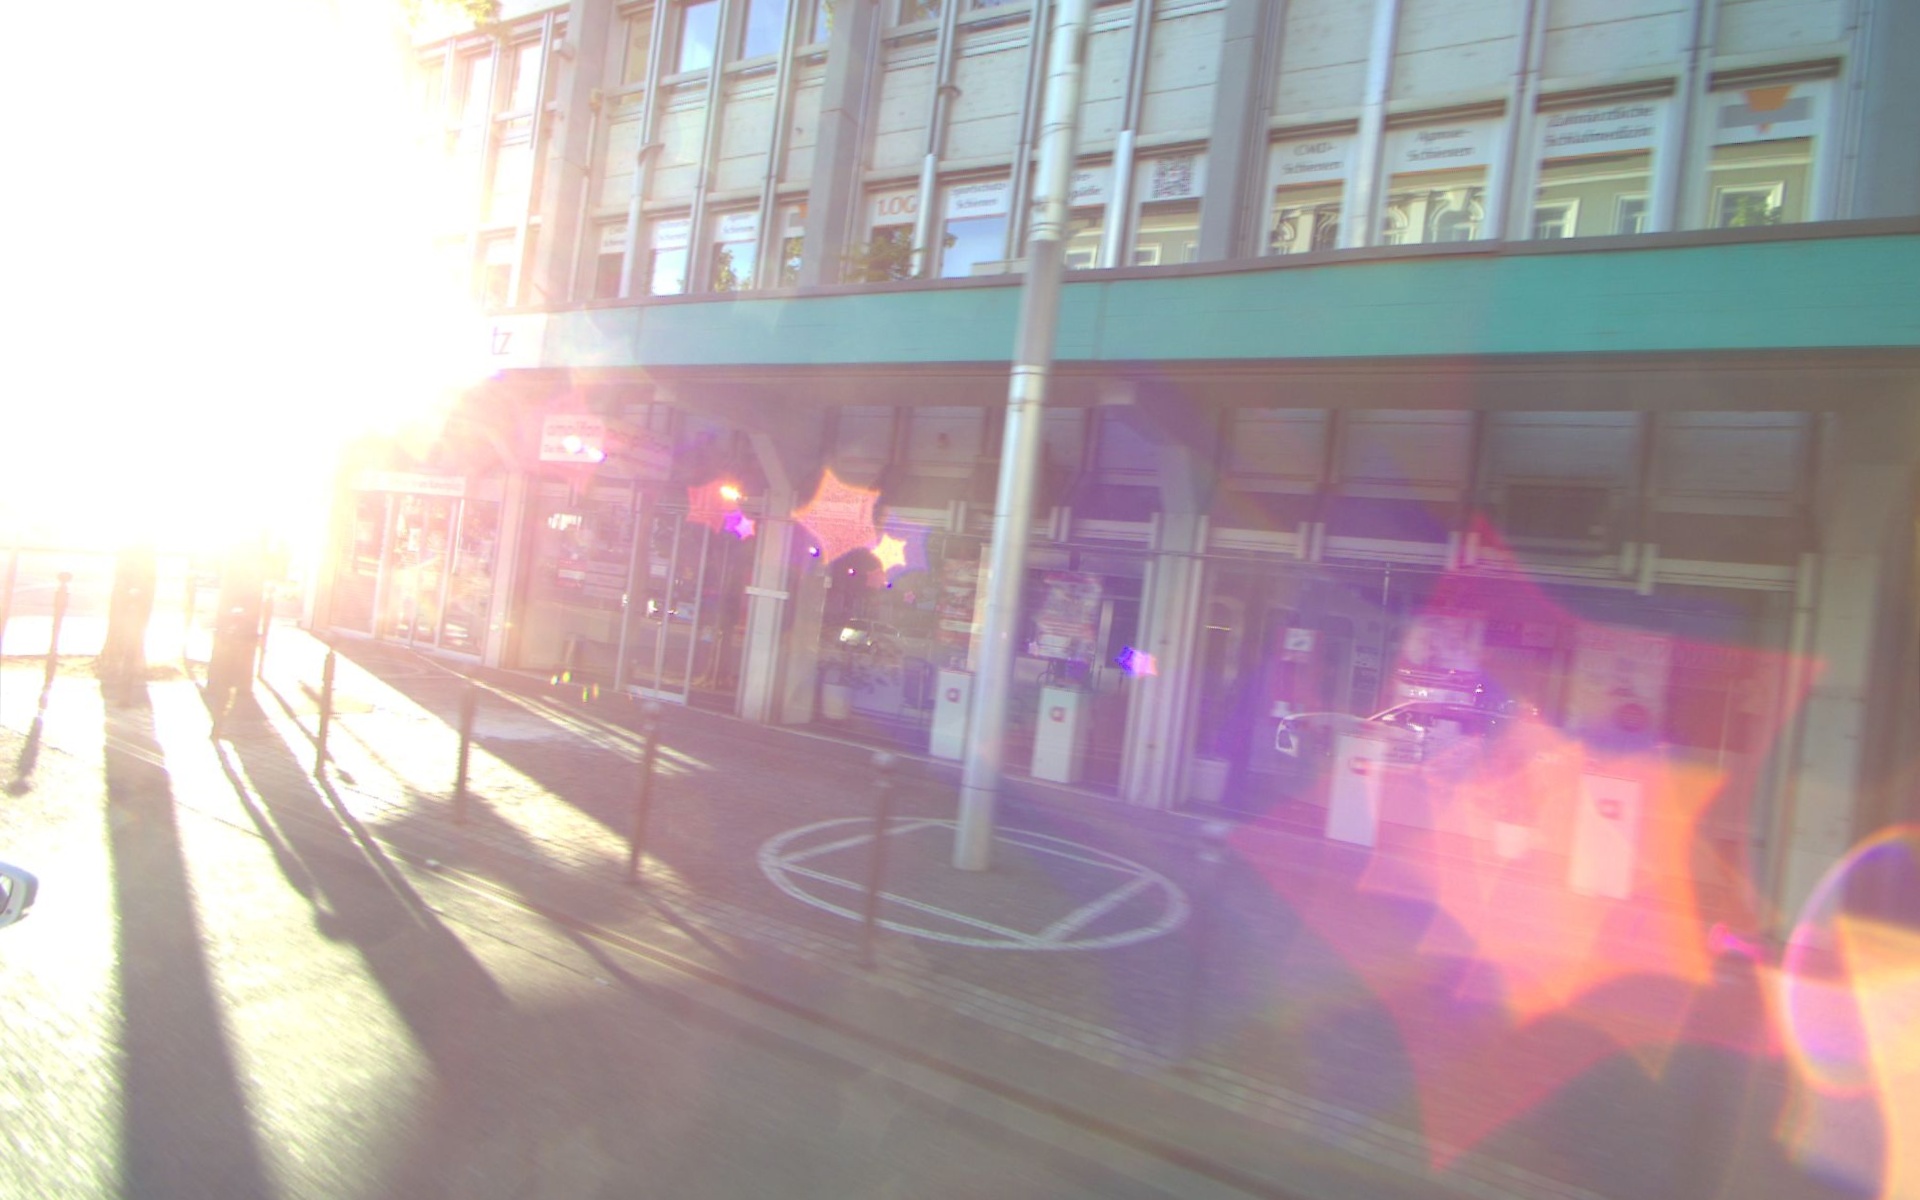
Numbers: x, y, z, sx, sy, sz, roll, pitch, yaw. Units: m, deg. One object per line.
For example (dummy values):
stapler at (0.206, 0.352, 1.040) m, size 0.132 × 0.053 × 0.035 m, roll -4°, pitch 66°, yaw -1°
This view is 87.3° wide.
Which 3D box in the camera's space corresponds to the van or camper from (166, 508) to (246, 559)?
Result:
van or camper at (-46.476, -4.129, 61.965) m, size 6.233 × 2.502 × 2.604 m, roll 7°, pitch -1°, yaw 42°
